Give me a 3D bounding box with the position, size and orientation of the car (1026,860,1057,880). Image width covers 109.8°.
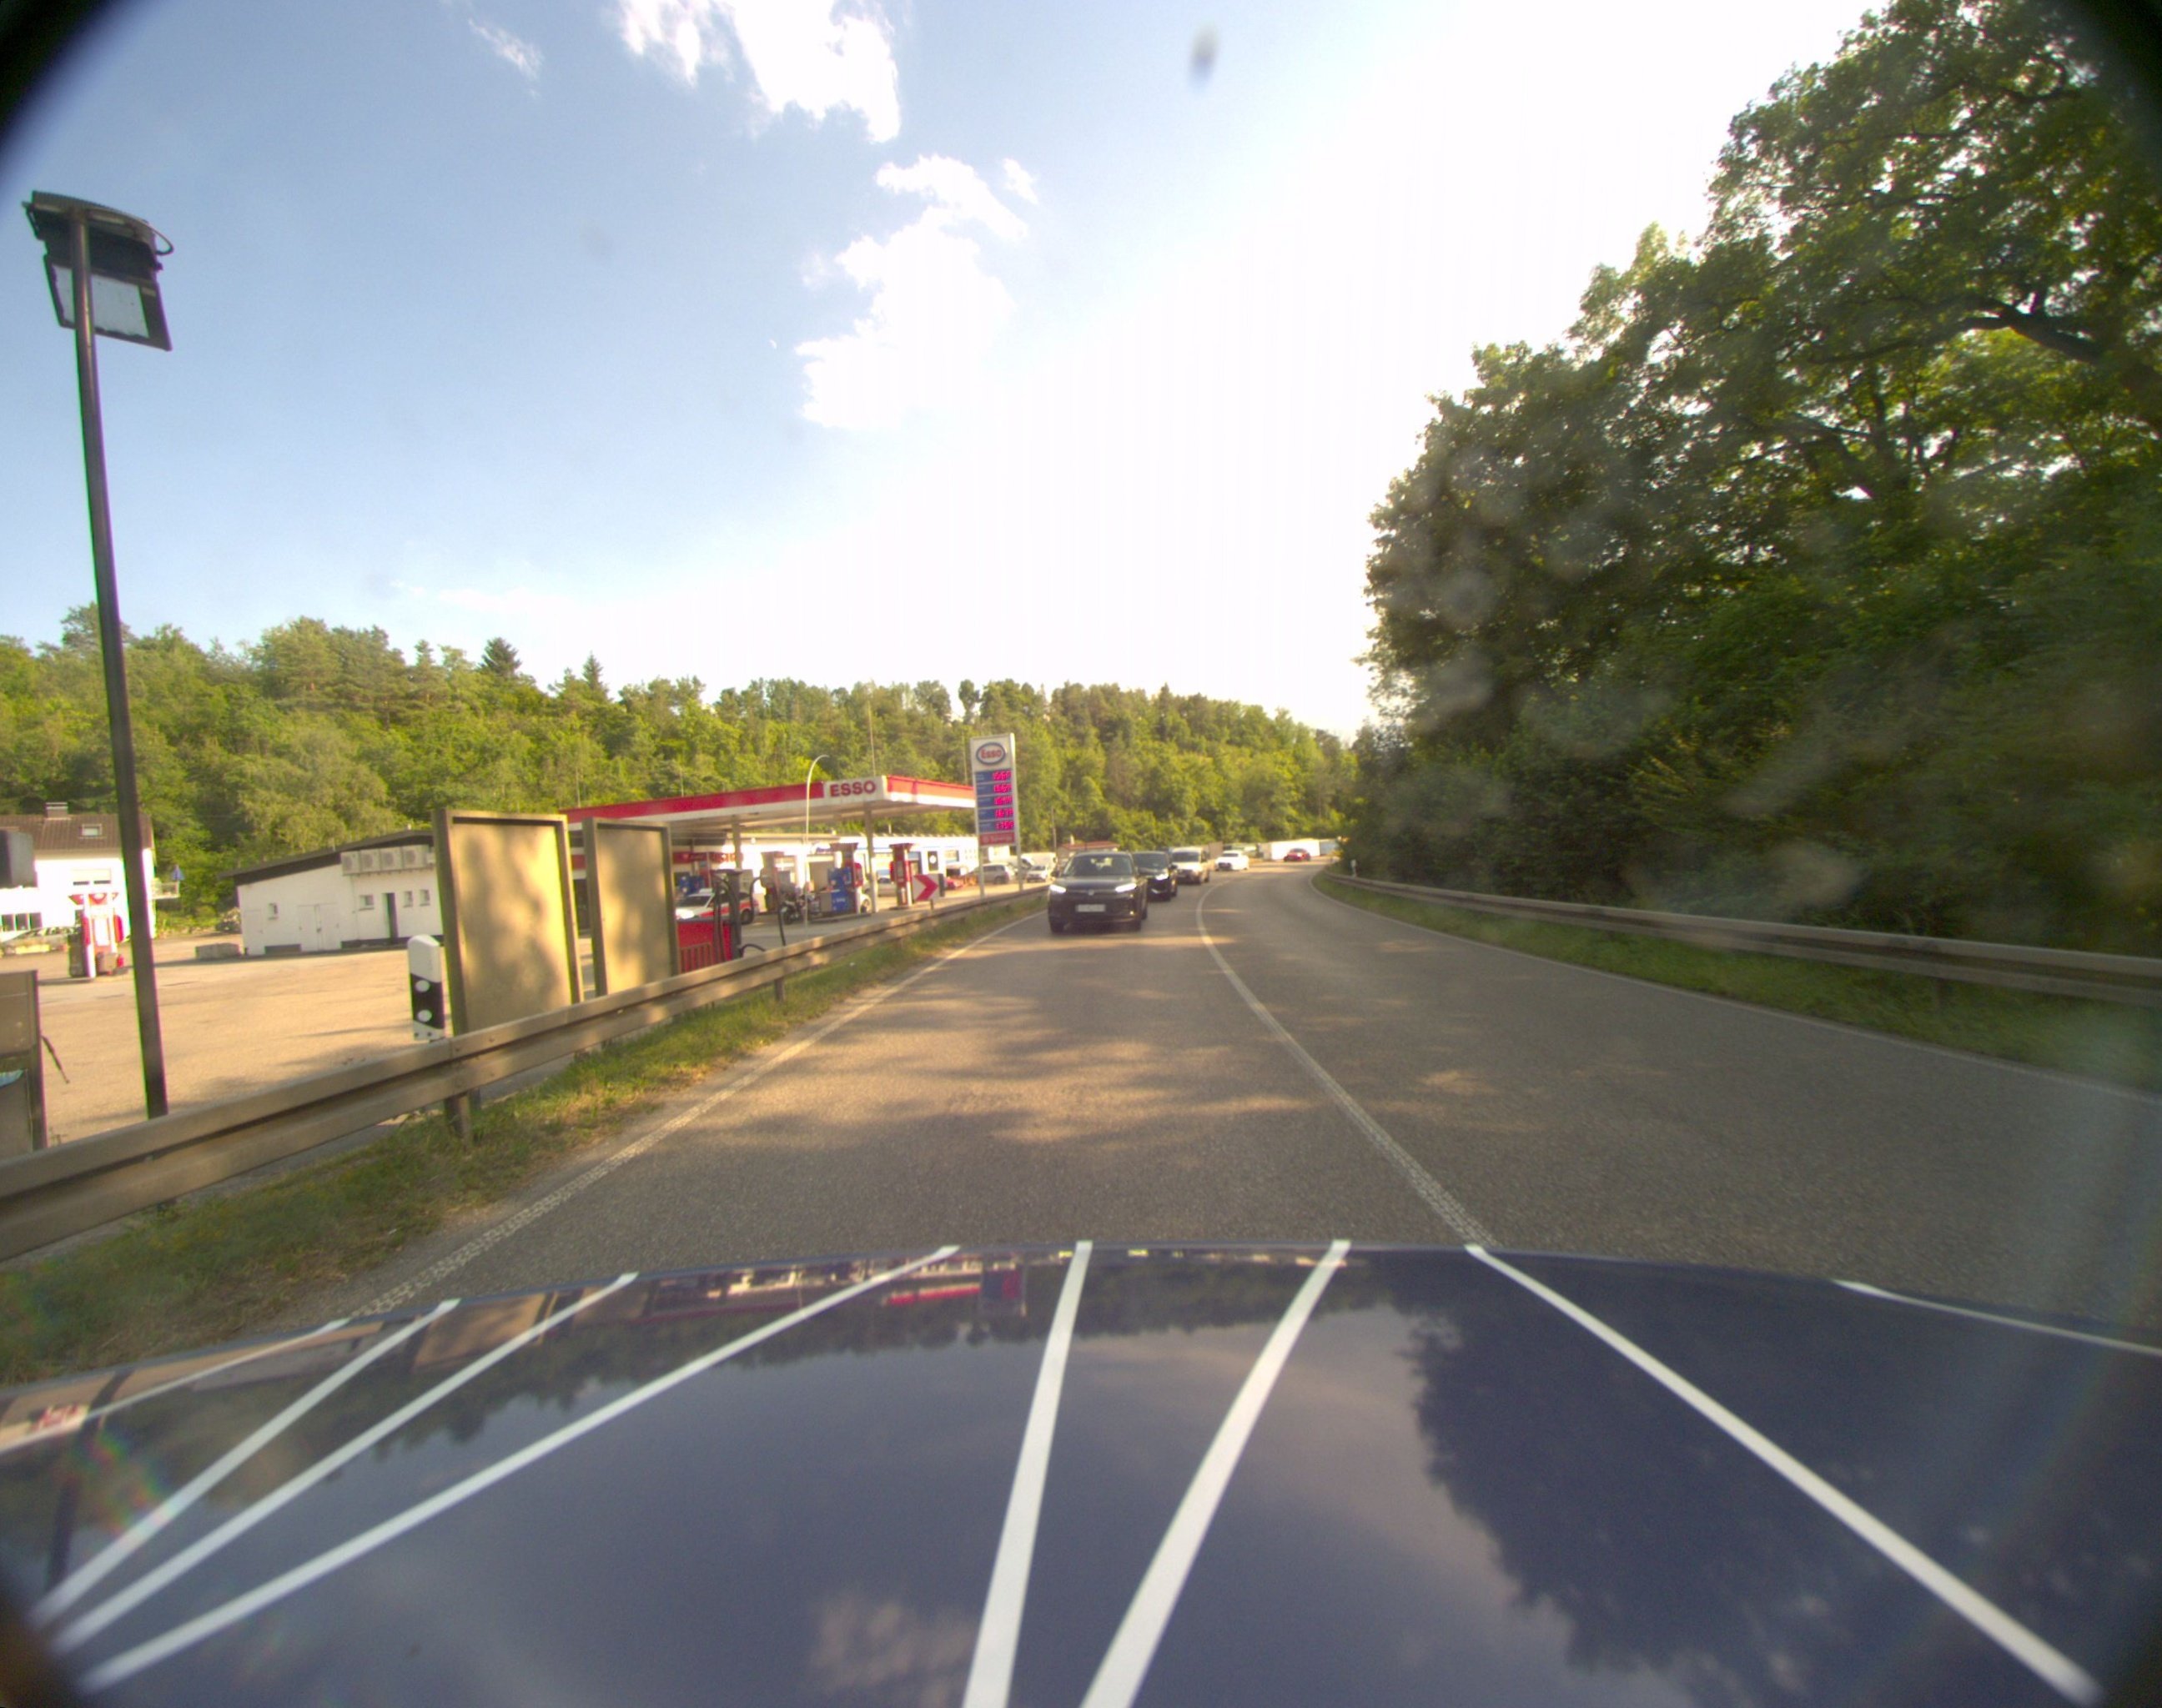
[{"bbox_3d":[-3.483,1.391,67.995,1.793,1.587,3.992,-1,1,11],"label":"car"}]

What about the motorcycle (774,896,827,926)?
[{"bbox_3d":[-11.327,2.287,30.797,0.763,1.006,2.343,-3,0,14],"label":"motorcycle"}]

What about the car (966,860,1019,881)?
[{"bbox_3d":[-7.867,1.446,67.513,4.254,1.719,1.893,-1,1,12],"label":"car"}]

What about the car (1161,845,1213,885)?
[{"bbox_3d":[5.279,0.502,37.375,1.865,1.711,4.768,-1,1,16],"label":"car"}]

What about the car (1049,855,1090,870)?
[{"bbox_3d":[-1.338,0.997,88.053,4.410,1.660,1.939,-1,0,-26],"label":"car"}]

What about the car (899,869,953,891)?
[{"bbox_3d":[-11.823,1.984,58.092,3.549,1.437,1.735,-3,1,15],"label":"car"}]

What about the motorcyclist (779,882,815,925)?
[{"bbox_3d":[-11.413,1.987,30.562,0.859,1.595,0.928,-4,1,14],"label":"motorcyclist"}]

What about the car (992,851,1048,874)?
[{"bbox_3d":[-6.460,0.884,80.689,5.481,2.261,2.297,-2,1,14],"label":"car"}]

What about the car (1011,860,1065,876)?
[{"bbox_3d":[-4.123,1.366,73.137,4.727,1.426,1.959,-1,1,13],"label":"car"}]

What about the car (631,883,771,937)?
[{"bbox_3d":[-15.140,2.181,30.681,2.095,1.618,5.185,-3,0,14],"label":"car"}]

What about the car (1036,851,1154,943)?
[{"bbox_3d":[0.452,0.787,16.124,1.858,1.630,4.444,-1,1,9],"label":"car"}]

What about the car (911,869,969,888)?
[{"bbox_3d":[-11.159,1.961,60.119,4.073,1.340,1.897,-2,1,15],"label":"car"}]

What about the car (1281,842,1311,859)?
[{"bbox_3d":[21.697,-0.389,76.551,1.856,1.412,4.426,-4,0,29],"label":"car"}]

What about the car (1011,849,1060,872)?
[{"bbox_3d":[-5.000,0.724,84.252,4.915,2.435,2.209,-2,1,13],"label":"car"}]

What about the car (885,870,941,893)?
[{"bbox_3d":[-12.380,2.026,55.932,3.555,1.398,1.692,-3,1,15],"label":"car"}]

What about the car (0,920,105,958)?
[{"bbox_3d":[-65.194,5.328,47.345,2.695,1.826,5.175,-4,0,41],"label":"car"}]

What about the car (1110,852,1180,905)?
[{"bbox_3d":[2.243,0.754,25.705,1.847,1.560,4.260,-2,0,11],"label":"car"}]

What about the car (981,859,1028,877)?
[{"bbox_3d":[-7.632,1.359,76.201,4.246,1.601,1.897,-2,1,15],"label":"car"}]

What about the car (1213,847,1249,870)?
[{"bbox_3d":[11.007,0.330,55.516,1.894,1.437,4.481,-4,0,20],"label":"car"}]

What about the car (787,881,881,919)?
[{"bbox_3d":[-11.055,2.050,34.339,1.845,1.311,4.394,-3,0,15],"label":"car"}]

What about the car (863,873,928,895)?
[{"bbox_3d":[-13.012,2.088,53.442,3.963,1.347,1.778,-2,1,11],"label":"car"}]
